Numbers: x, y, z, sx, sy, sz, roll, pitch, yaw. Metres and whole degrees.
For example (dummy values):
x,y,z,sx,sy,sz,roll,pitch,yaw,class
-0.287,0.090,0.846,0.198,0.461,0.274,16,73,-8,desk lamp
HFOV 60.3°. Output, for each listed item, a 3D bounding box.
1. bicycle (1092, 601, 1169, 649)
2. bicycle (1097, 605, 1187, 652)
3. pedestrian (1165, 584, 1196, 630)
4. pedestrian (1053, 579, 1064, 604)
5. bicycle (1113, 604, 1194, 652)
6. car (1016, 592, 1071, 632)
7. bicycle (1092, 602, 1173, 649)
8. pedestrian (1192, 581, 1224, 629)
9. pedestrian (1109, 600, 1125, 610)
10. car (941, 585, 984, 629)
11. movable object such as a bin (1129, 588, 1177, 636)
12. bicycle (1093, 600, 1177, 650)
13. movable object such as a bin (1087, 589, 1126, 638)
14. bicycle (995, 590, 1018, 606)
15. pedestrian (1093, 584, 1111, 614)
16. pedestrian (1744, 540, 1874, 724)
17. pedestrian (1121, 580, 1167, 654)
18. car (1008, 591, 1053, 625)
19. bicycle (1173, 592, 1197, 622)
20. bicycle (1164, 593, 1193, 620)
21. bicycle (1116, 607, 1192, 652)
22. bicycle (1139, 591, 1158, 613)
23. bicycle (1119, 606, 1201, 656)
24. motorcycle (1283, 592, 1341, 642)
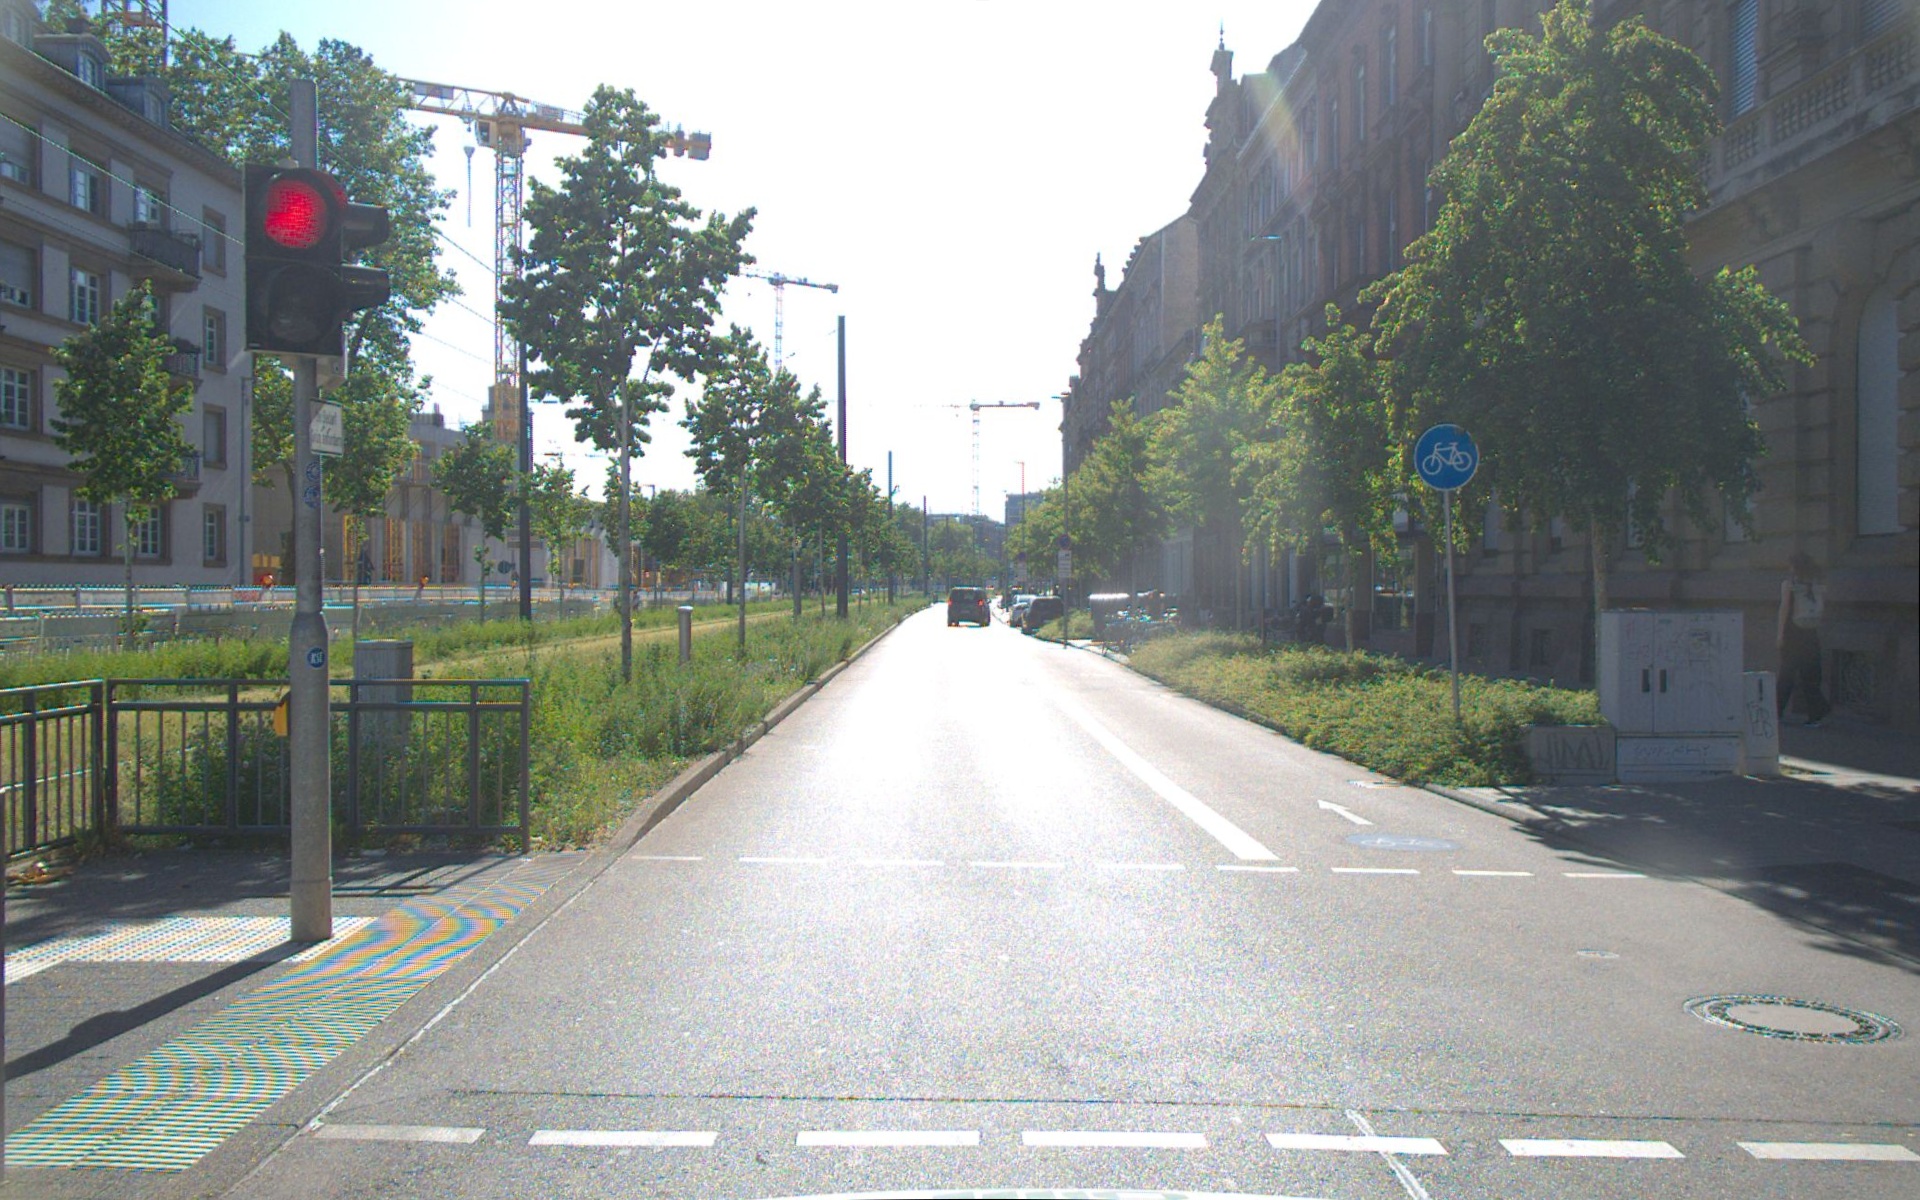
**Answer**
x,y,z,sx,sy,sz,roll,pitch,yaw,class
4.586,0.671,44.496,1.937,1.143,0.481,-4,1,-6,bicycle
4.700,0.725,42.662,2.247,1.121,0.484,-2,0,-15,bicycle
7.865,0.232,59.149,0.931,1.594,1.080,-1,1,-1,pedestrian
8.236,-0.676,138.432,0.801,2.049,1.046,1,-2,-1,pedestrian
4.860,0.695,41.499,1.938,1.127,0.435,-2,0,-4,bicycle
3.393,0.477,67.604,1.730,1.502,4.446,-2,0,-3,car
4.597,0.667,44.088,2.004,1.126,0.610,-3,0,-7,bicycle
8.880,0.182,59.267,0.951,1.667,0.992,-1,1,-1,pedestrian
9.591,0.310,100.989,0.757,0.562,2.007,-1,1,-1,pedestrian
0.133,0.345,79.652,1.952,2.049,4.000,1,0,1,car
6.405,0.404,54.944,1.345,1.521,1.749,-3,0,0,movable object such as a bin
4.559,0.645,43.004,2.111,1.174,0.428,-3,1,-15,bicycle
4.843,0.434,54.747,1.244,1.488,1.645,1,2,4,movable object such as a bin
3.888,-0.156,137.686,1.843,1.255,0.499,-3,0,-6,bicycle
8.355,-0.049,97.509,0.976,1.762,0.866,1,-1,-1,pedestrian
9.429,0.343,18.416,0.871,1.953,1.098,-2,0,4,pedestrian
4.595,0.425,41.305,0.883,1.766,0.848,-4,0,-7,pedestrian
3.394,0.362,80.312,1.912,1.521,5.104,-2,0,0,car
9.497,0.283,69.961,0.732,1.222,1.800,-1,0,-1,bicycle
9.641,0.264,73.029,0.858,1.124,2.180,-3,0,-3,bicycle
4.821,0.727,41.155,1.780,1.074,0.571,-2,0,-7,bicycle
9.604,0.104,84.198,0.706,1.109,2.198,-1,0,0,bicycle
4.796,0.736,39.681,1.855,1.128,0.517,-2,0,-6,bicycle
9.448,0.456,44.508,0.848,1.288,2.981,1,0,-1,motorcycle
